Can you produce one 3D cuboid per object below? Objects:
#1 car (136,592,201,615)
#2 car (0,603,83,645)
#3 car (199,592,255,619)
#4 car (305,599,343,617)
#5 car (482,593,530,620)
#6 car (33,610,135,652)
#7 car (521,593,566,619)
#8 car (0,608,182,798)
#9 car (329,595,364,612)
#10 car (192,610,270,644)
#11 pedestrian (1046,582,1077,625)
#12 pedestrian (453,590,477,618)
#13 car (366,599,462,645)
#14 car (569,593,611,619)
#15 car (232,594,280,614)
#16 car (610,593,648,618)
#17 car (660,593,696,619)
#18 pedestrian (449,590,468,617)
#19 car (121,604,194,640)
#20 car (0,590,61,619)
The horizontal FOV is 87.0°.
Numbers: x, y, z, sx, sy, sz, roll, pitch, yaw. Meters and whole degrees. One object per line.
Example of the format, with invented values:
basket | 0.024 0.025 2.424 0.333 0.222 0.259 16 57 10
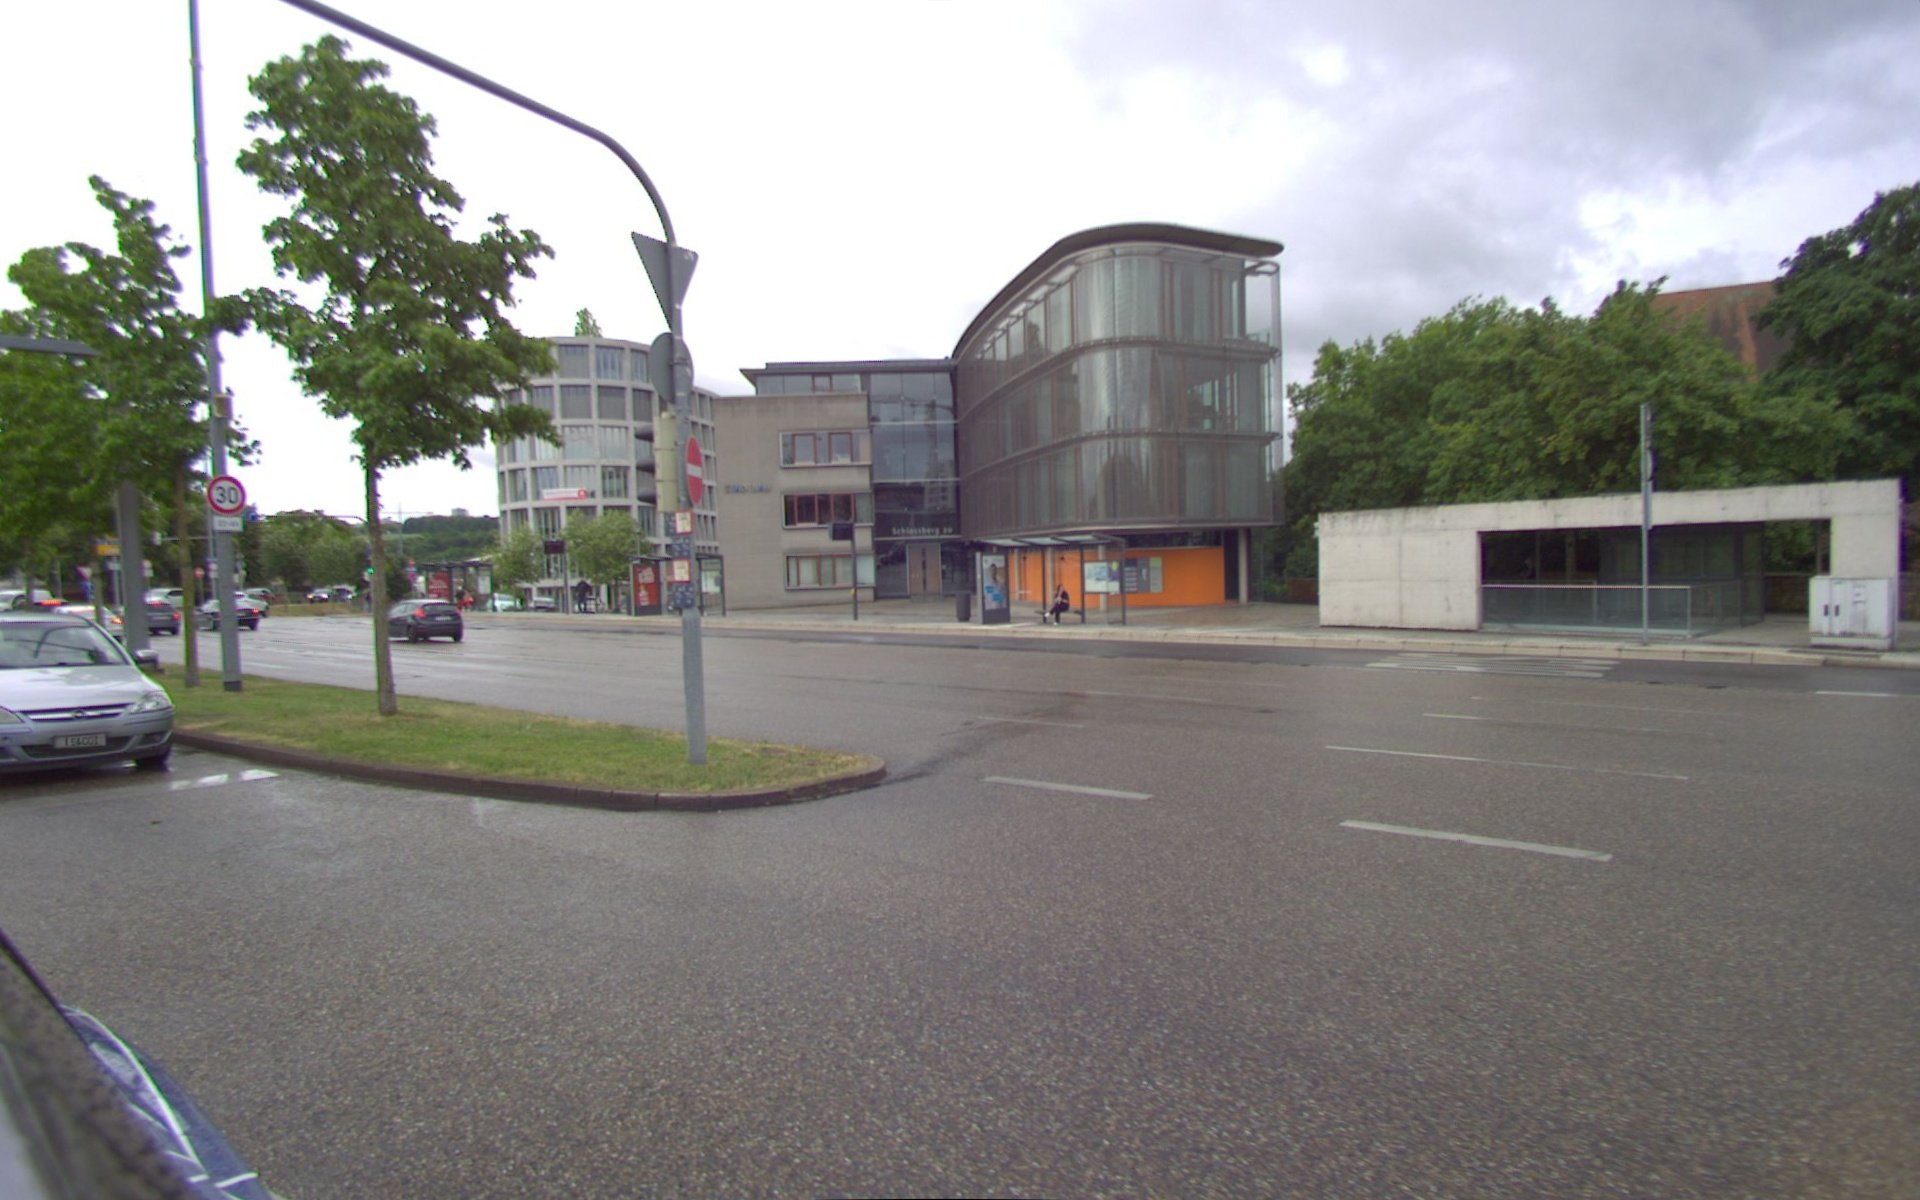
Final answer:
car | -57.758 0.230 73.929 1.847 1.646 4.292 0 0 -8
car | -37.072 0.924 40.794 4.161 1.566 1.985 0 0 40
car | -45.974 0.345 63.442 4.206 1.630 1.935 0 0 41
car | -62.051 0.740 98.852 1.863 1.726 4.228 0 0 -13
car | -30.599 0.410 68.303 1.847 1.714 4.165 0 0 -8
car | -31.511 1.065 36.374 4.158 1.363 1.986 0 0 37
car | -28.134 0.407 68.546 1.847 1.714 4.165 0 0 -8
car | -8.948 0.837 9.471 3.713 1.476 1.679 0 0 36
car | -64.923 0.328 107.144 1.864 1.726 4.228 0 0 -11
car | -34.065 1.228 47.264 3.995 1.433 1.937 0 0 38
pedestrian | 3.134 0.118 31.281 0.719 1.309 0.659 0 0 42
pedestrian | -27.149 0.197 55.505 0.970 1.501 0.735 0 0 -43
car | -18.960 0.718 35.102 3.861 1.523 1.660 0 0 41
car | -25.153 0.388 68.974 1.847 1.714 4.165 -1 0 -8
car | -58.845 0.312 84.656 1.846 1.646 4.168 -1 1 -13
car | -22.723 0.354 69.619 1.847 1.714 4.165 0 0 -8
car | -19.380 0.394 69.746 1.847 1.714 4.165 0 0 -8
pedestrian | -27.845 0.196 56.195 0.723 1.501 0.735 0 0 -45
car | -35.065 0.919 44.190 4.448 1.476 1.677 0 0 40
car | -56.078 0.271 60.125 1.848 1.646 4.162 0 0 -5
